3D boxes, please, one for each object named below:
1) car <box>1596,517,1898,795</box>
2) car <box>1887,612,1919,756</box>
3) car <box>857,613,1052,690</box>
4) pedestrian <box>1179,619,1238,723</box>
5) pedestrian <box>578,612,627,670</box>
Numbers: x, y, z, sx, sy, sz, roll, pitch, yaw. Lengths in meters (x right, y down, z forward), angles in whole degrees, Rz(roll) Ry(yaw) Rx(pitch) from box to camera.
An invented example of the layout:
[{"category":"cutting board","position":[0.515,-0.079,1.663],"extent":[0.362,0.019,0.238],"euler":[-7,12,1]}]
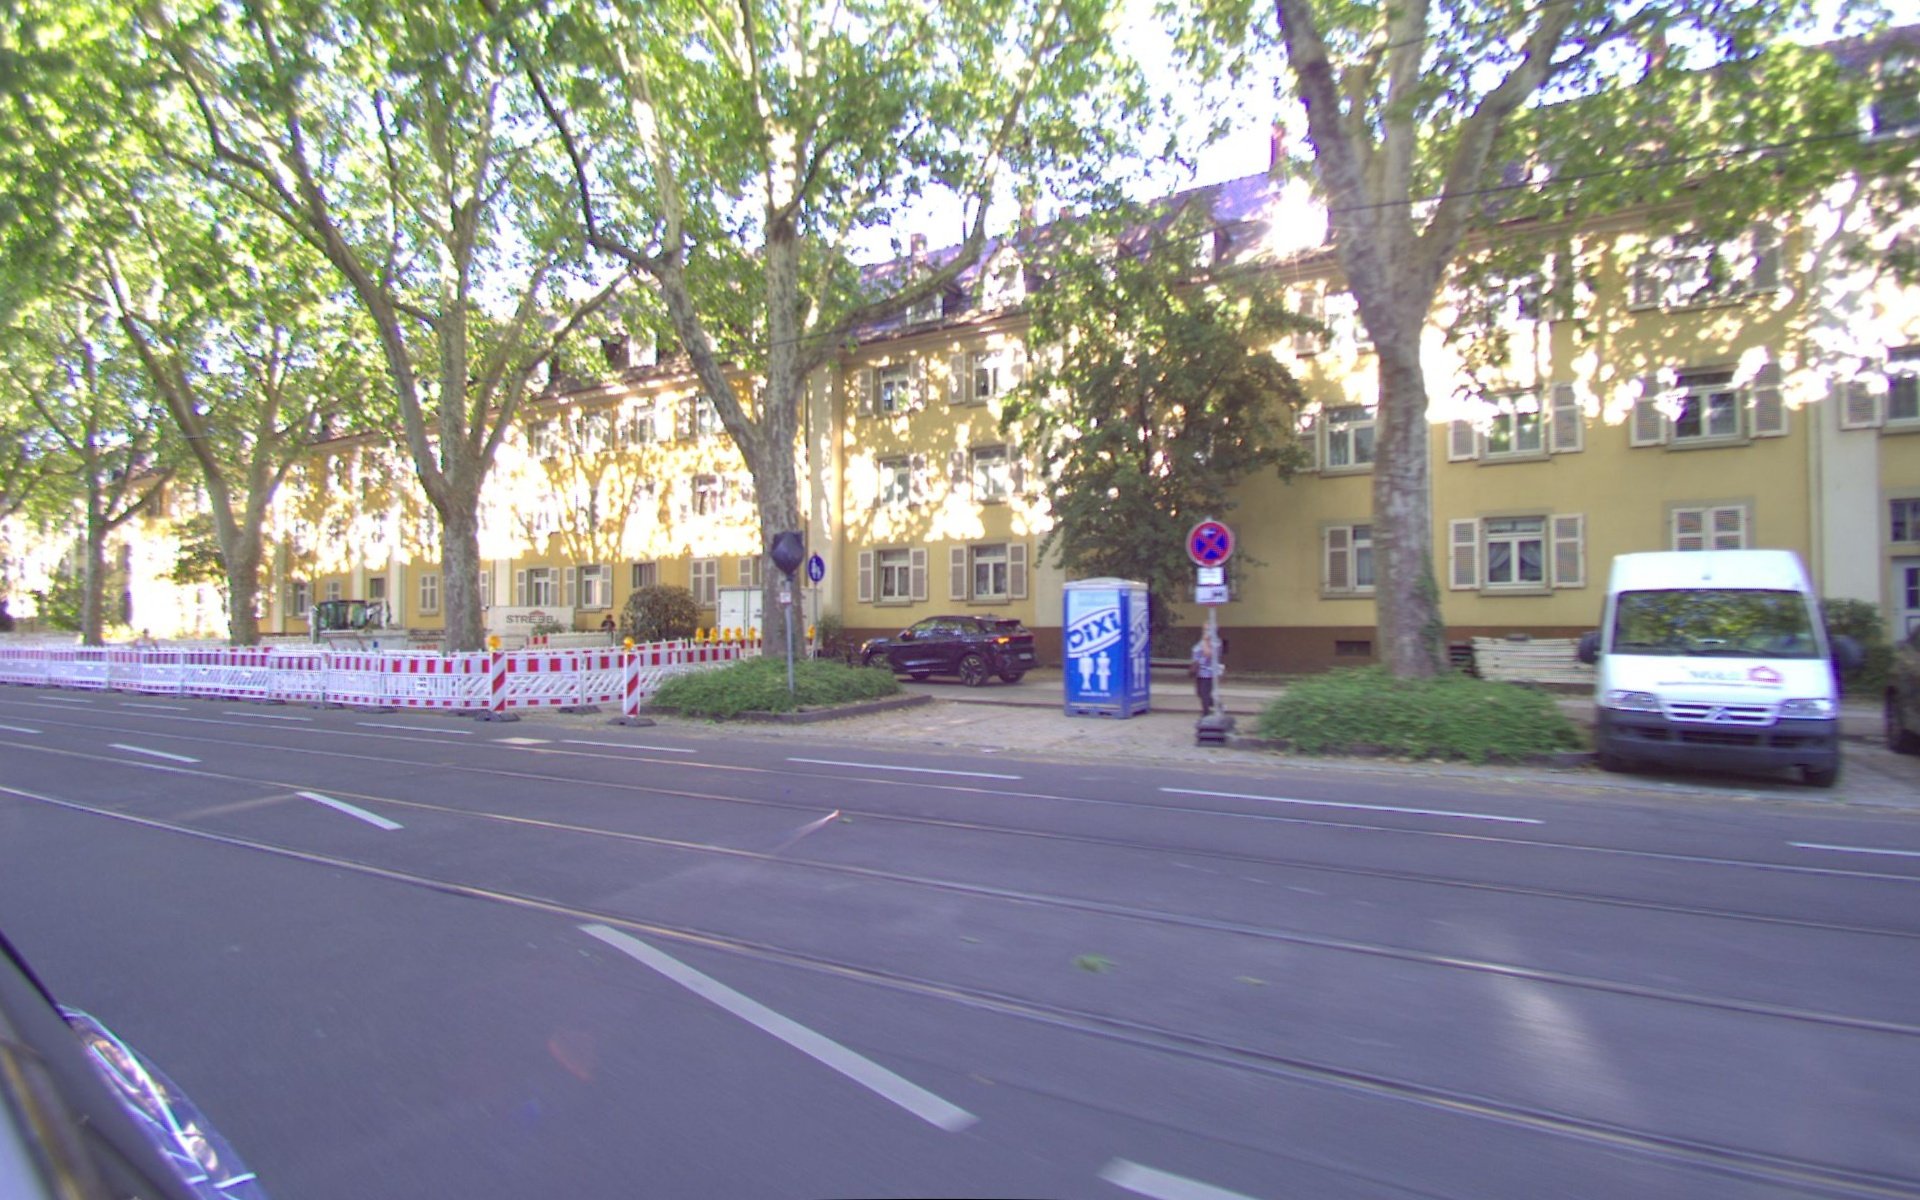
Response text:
[{"category":"car","position":[8.604,0.580,11.634],"extent":[2.018,2.394,5.556],"euler":[-1,-2,31]},{"category":"car","position":[11.170,0.910,10.023],"extent":[1.962,1.643,4.530],"euler":[-2,-2,30]},{"category":"car","position":[-0.168,1.150,23.447],"extent":[4.209,1.613,1.810],"euler":[-2,-1,34]},{"category":"pedestrian","position":[3.909,1.097,15.903],"extent":[0.716,1.585,0.589],"euler":[-2,-3,36]},{"category":"pedestrian","position":[-12.617,1.441,35.742],"extent":[1.230,2.029,1.088],"euler":[-1,-2,29]}]
